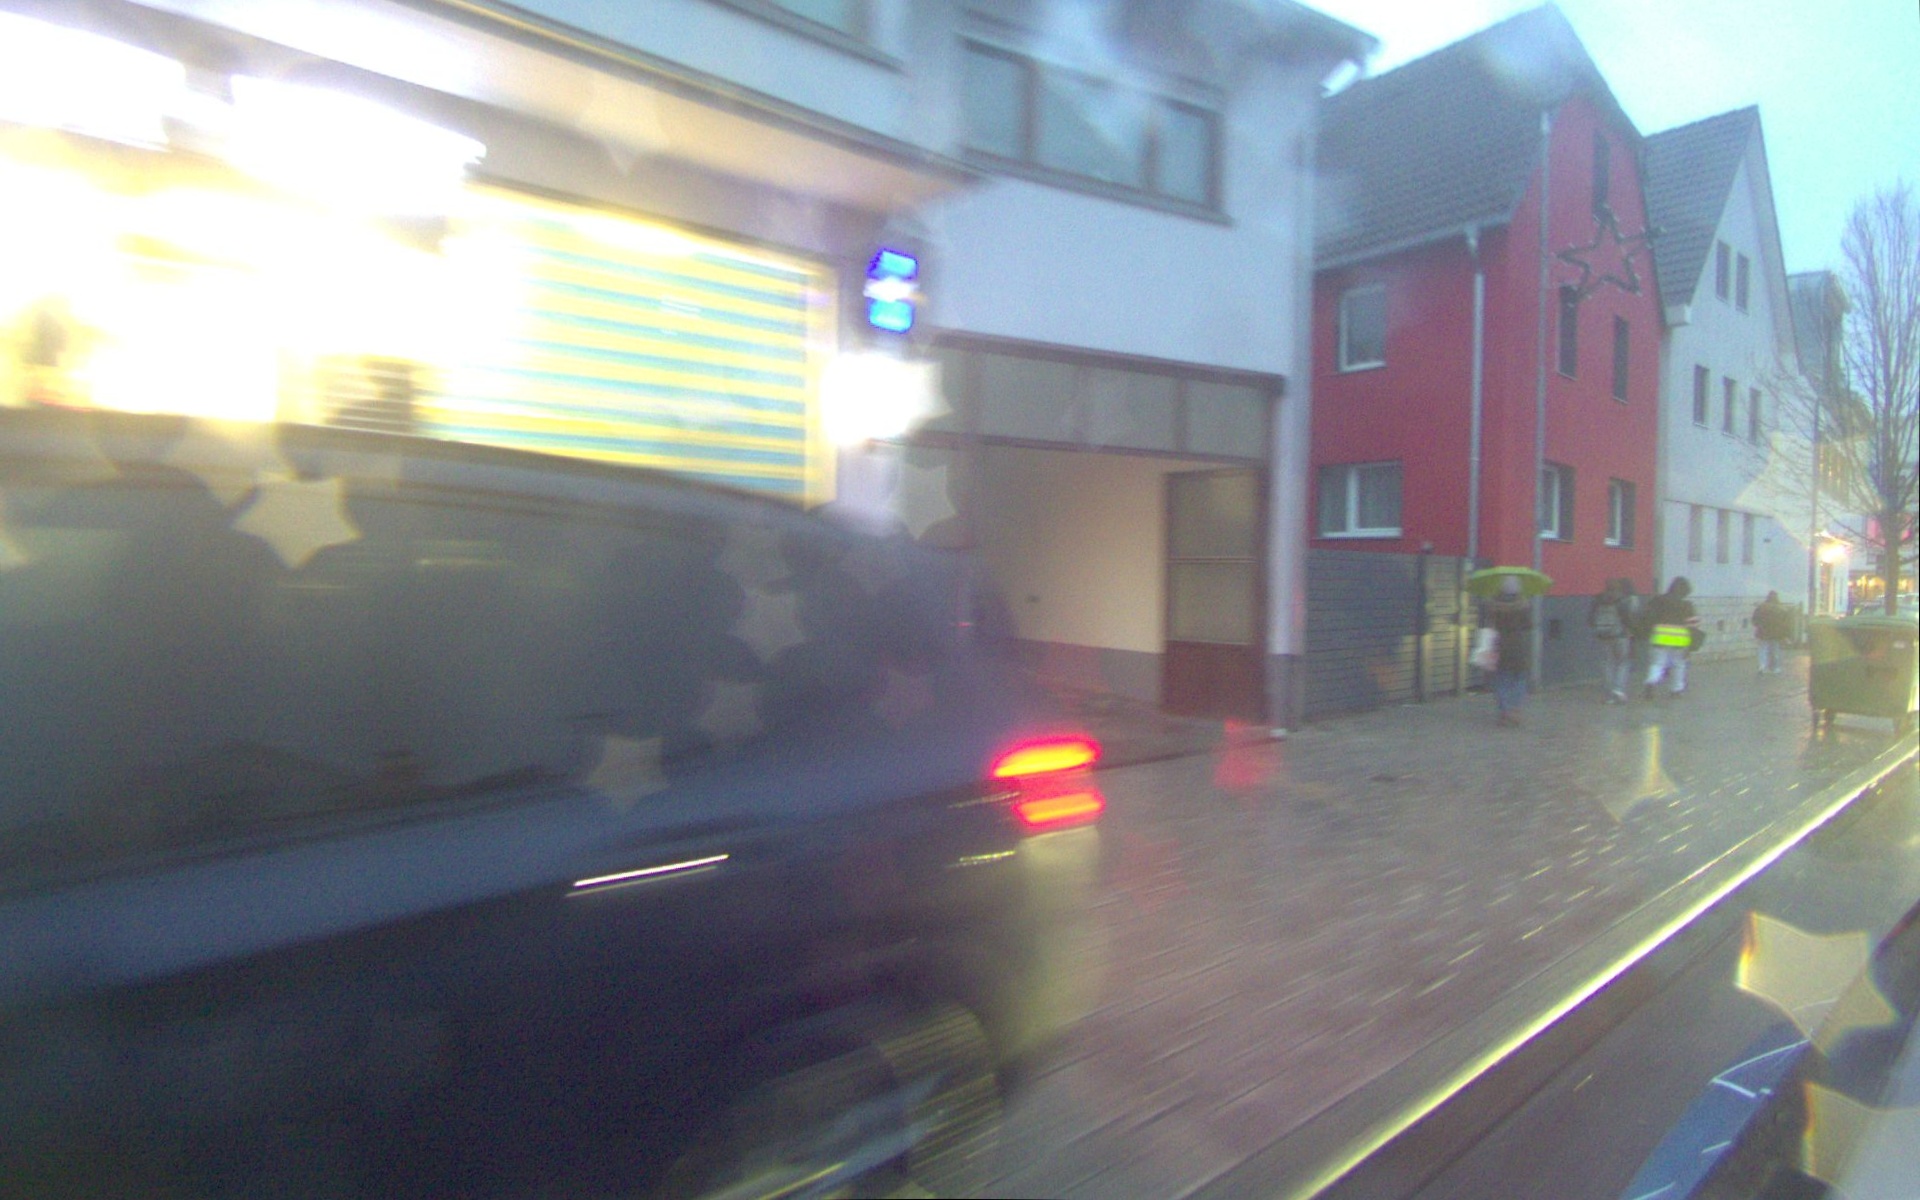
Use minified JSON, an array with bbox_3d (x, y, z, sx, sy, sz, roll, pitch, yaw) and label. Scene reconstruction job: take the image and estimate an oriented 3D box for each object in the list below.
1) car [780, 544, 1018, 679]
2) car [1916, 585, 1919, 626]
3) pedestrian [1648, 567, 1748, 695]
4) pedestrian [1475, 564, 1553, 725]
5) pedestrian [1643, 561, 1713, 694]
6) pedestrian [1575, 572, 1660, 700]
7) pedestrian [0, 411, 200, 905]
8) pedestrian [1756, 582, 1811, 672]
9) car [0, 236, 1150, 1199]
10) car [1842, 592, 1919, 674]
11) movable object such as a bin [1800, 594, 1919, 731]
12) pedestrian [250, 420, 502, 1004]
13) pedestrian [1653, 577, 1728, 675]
[{"bbox_3d":[-1.018,0.085,14.283,1.850,1.613,4.007,1,1,-28],"label":"car"},{"bbox_3d":[41.932,0.294,42.558,1.813,1.767,3.953,-1,2,33],"label":"car"},{"bbox_3d":[10.421,0.421,14.291,1.013,1.736,0.716,1,1,-28],"label":"pedestrian"},{"bbox_3d":[5.966,0.456,10.885,0.616,1.647,0.895,1,-1,35],"label":"pedestrian"},{"bbox_3d":[10.215,0.381,14.398,0.847,1.823,0.531,1,-1,-32],"label":"pedestrian"},{"bbox_3d":[8.821,0.470,13.575,0.998,1.650,0.482,1,1,-28],"label":"pedestrian"},{"bbox_3d":[-3.368,0.196,3.910,0.608,1.748,0.501,-2,1,-35],"label":"pedestrian"},{"bbox_3d":[16.039,0.512,19.706,0.935,1.673,0.531,-2,1,-32],"label":"pedestrian"},{"bbox_3d":[-1.737,0.468,1.516,4.311,1.713,1.738,0,2,-42],"label":"car"},{"bbox_3d":[19.635,0.654,20.667,4.123,1.482,1.733,0,3,-40],"label":"car"},{"bbox_3d":[10.803,0.694,11.873,1.392,1.438,1.132,1,3,-39],"label":"movable object such as a bin"},{"bbox_3d":[-1.963,0.317,3.393,0.641,1.720,0.574,0,3,-40],"label":"pedestrian"},{"bbox_3d":[13.247,0.449,18.355,1.032,1.699,0.749,1,1,-35],"label":"pedestrian"}]
